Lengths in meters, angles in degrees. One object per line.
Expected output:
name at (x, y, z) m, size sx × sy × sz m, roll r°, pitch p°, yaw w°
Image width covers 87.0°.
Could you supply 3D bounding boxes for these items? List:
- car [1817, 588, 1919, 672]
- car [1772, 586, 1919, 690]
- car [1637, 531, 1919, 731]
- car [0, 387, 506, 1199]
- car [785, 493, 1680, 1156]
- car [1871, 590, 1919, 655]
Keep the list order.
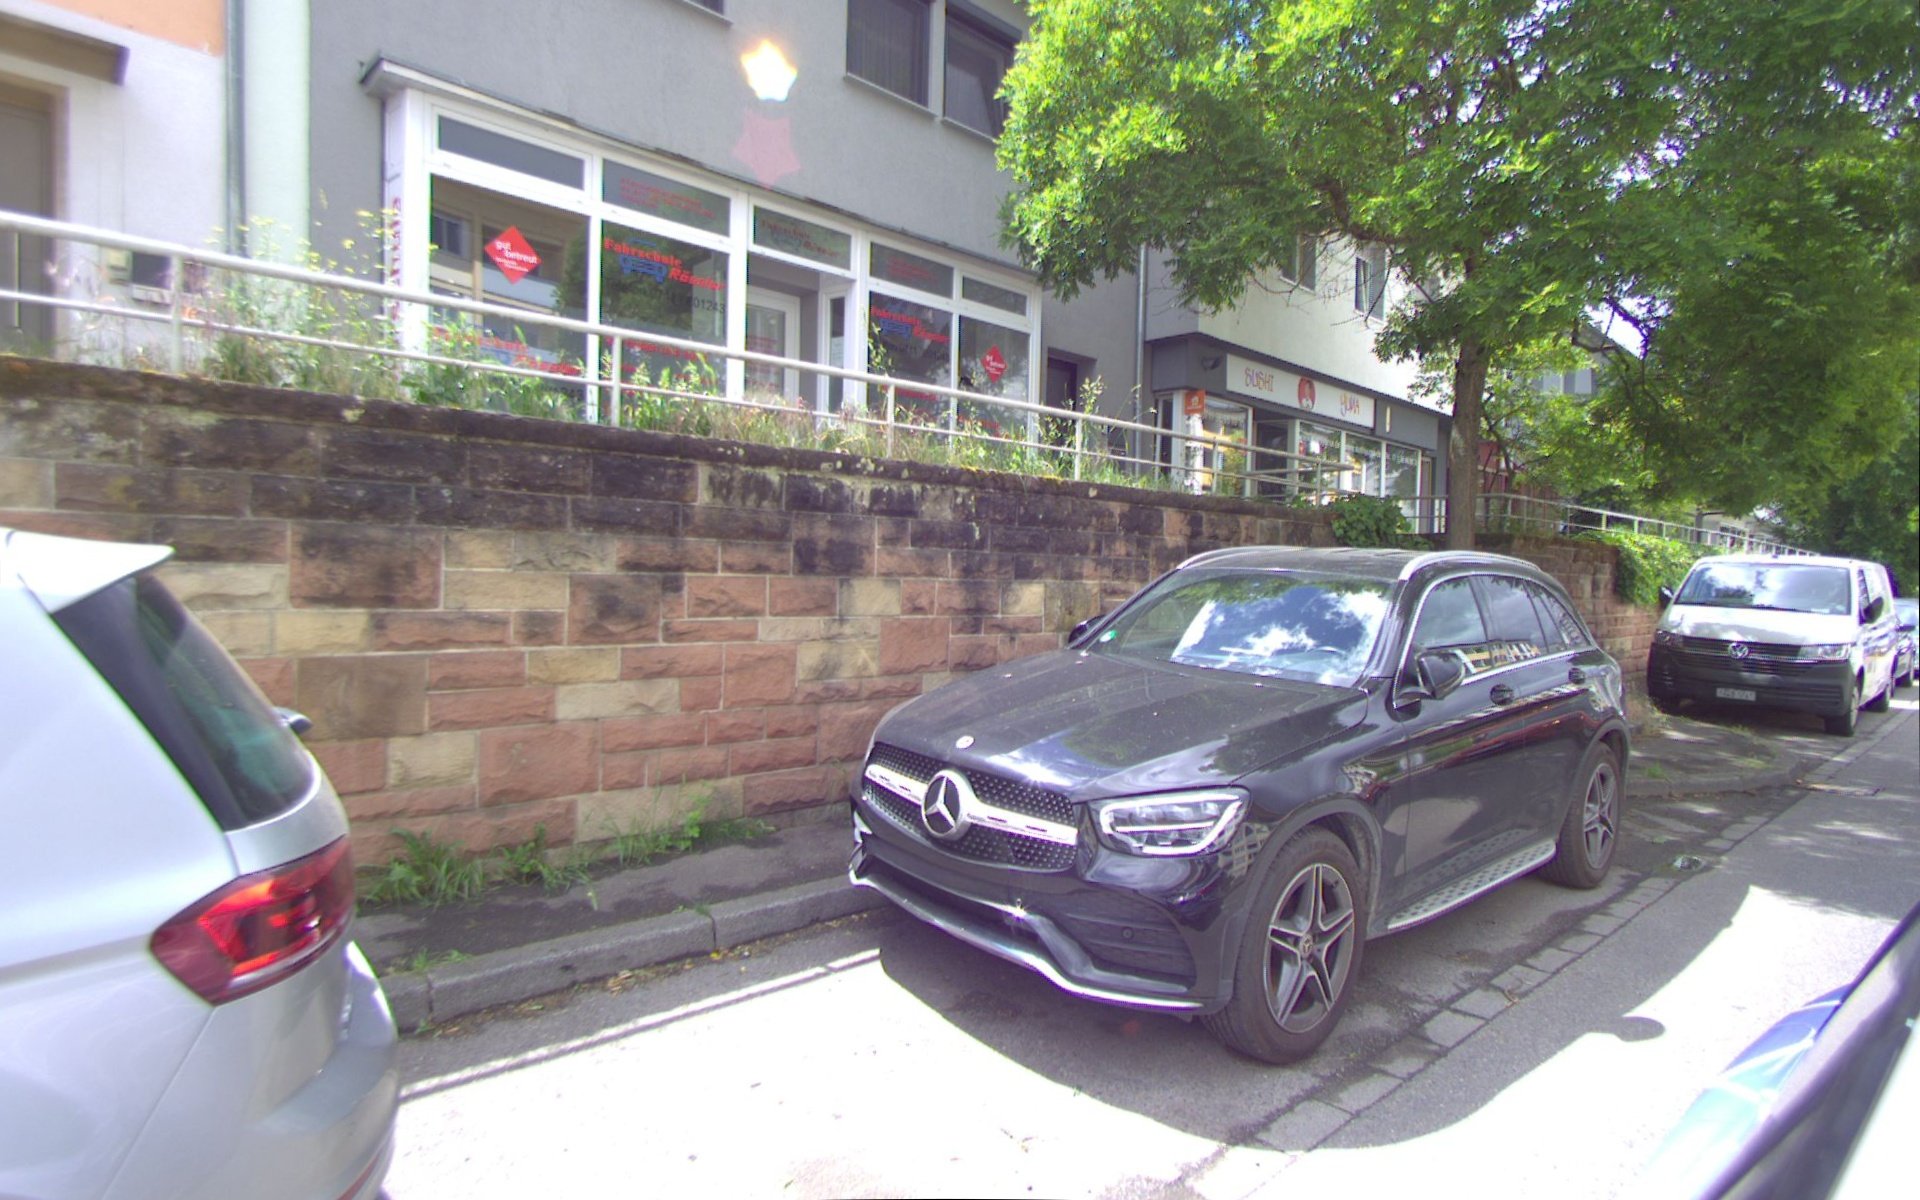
car at (18.160, 0.519, 19.735) m, size 4.076 × 1.446 × 1.782 m, roll 0°, pitch 2°, yaw -44°
car at (14.381, 0.525, 16.152) m, size 3.670 × 1.446 × 1.577 m, roll 0°, pitch 2°, yaw -41°
car at (10.269, 0.267, 12.460) m, size 4.926 × 1.994 × 1.977 m, roll 0°, pitch 2°, yaw -41°
car at (-2.848, 0.537, 0.833) m, size 4.175 × 1.637 × 1.793 m, roll 0°, pitch 3°, yaw -42°
car at (1.573, 0.488, 4.610) m, size 4.371 × 1.637 × 1.793 m, roll 0°, pitch 4°, yaw -42°
car at (23.322, 0.508, 24.198) m, size 4.075 × 1.446 × 1.783 m, roll 0°, pitch 2°, yaw -41°
